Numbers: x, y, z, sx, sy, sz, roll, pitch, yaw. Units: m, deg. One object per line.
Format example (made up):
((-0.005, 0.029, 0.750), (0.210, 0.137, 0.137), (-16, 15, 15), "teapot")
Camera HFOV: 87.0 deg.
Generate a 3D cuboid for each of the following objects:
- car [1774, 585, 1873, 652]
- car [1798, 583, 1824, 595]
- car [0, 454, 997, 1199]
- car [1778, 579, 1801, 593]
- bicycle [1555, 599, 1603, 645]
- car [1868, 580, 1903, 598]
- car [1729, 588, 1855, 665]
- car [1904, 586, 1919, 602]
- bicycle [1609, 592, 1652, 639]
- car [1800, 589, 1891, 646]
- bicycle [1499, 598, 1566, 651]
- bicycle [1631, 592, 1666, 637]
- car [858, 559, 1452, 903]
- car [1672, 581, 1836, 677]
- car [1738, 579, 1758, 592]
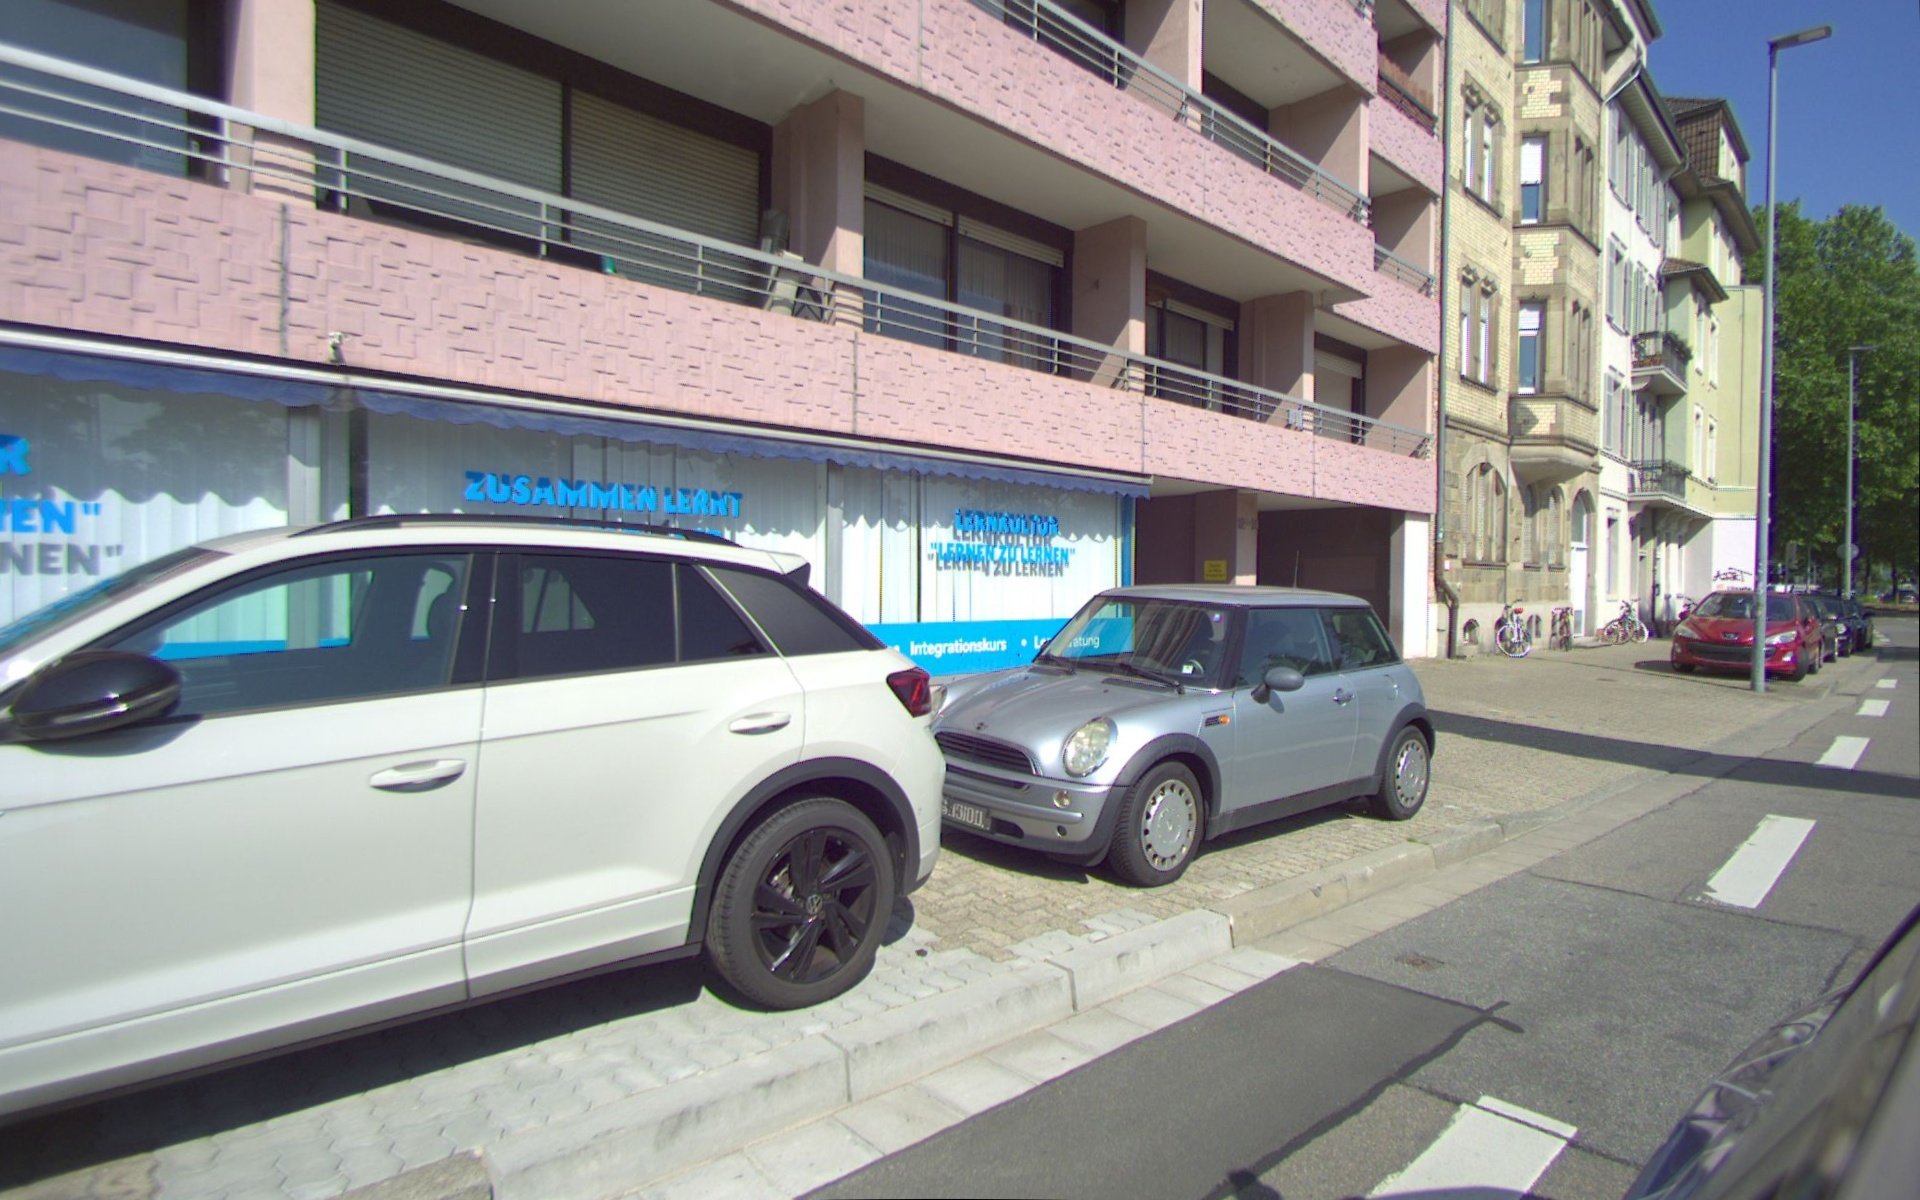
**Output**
((21.817, 0.397, 25.523), (1.642, 1.519, 3.947), (2, 2, 44), "car")
((108.001, -1.436, 128.473), (1.619, 1.514, 3.646), (1, 1, 27), "car")
((-2.044, 0.467, 3.020), (4.277, 1.560, 1.739), (-1, 2, -41), "car")
((110.611, -1.871, 135.035), (1.619, 1.939, 3.646), (1, 1, 27), "car")
((13.964, 0.475, 22.829), (1.625, 0.982, 0.508), (-1, 1, -43), "bicycle")
((99.282, -1.223, 108.624), (1.984, 1.914, 3.957), (0, 1, 30), "car")
((17.891, 0.494, 21.698), (4.059, 1.471, 1.643), (-1, 2, -44), "car")
((104.783, -0.631, 110.128), (1.906, 1.684, 4.269), (1, 1, 29), "car")
((17.354, 0.384, 26.173), (0.655, 1.160, 1.601), (3, 2, 42), "bicycle")
((25.106, 0.447, 28.646), (1.741, 1.433, 4.016), (2, 2, 44), "car")
((11.526, 0.469, 20.362), (1.833, 0.982, 0.651), (-1, 1, -43), "bicycle")
((18.801, 0.374, 27.633), (0.565, 1.195, 1.601), (1, 1, 42), "bicycle")
((1.276, 0.521, 5.986), (3.370, 1.426, 1.682), (0, 3, -40), "car")
((14.346, 0.429, 18.204), (3.934, 1.500, 1.787), (-1, 2, -44), "car")
((112.383, -2.115, 144.376), (1.619, 1.834, 3.559), (1, 1, 27), "car")
